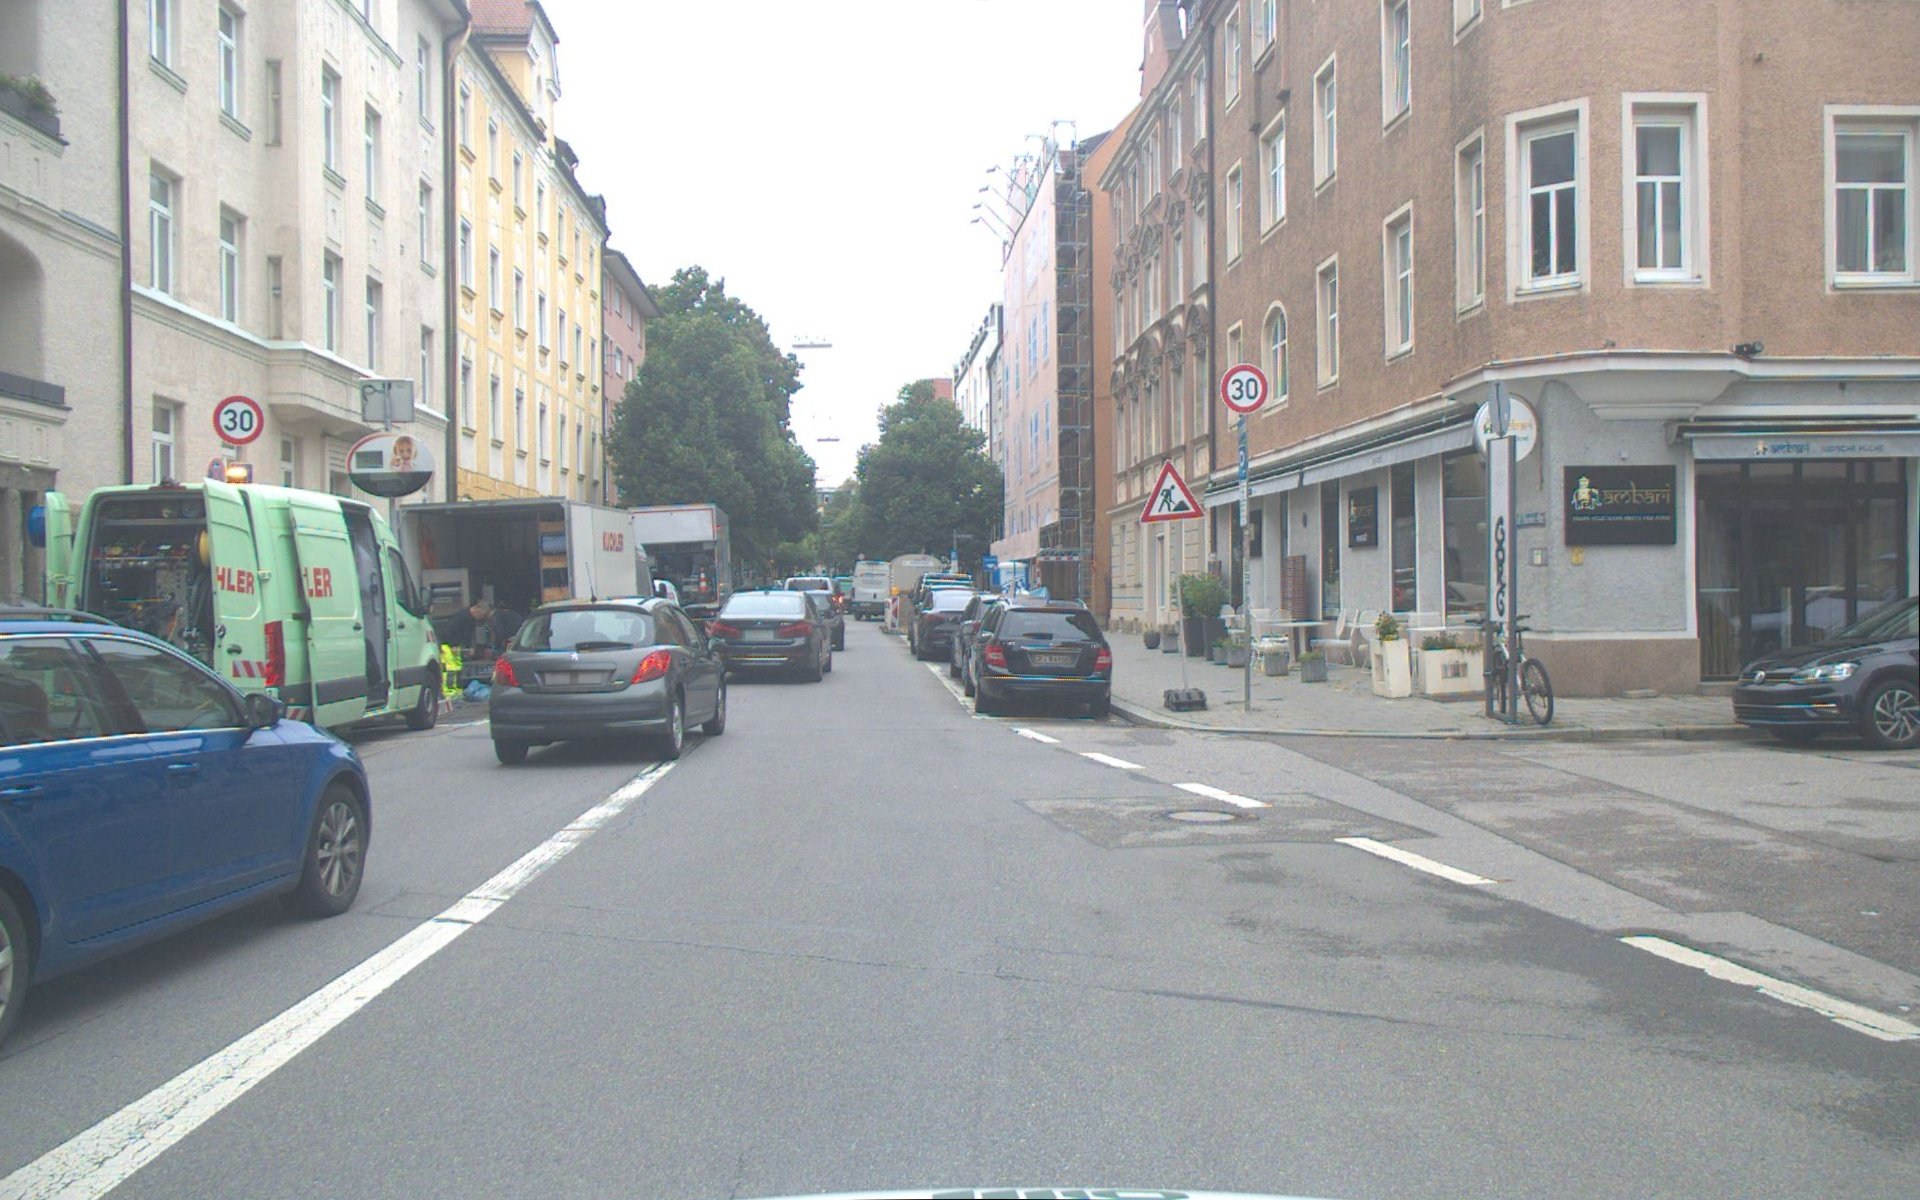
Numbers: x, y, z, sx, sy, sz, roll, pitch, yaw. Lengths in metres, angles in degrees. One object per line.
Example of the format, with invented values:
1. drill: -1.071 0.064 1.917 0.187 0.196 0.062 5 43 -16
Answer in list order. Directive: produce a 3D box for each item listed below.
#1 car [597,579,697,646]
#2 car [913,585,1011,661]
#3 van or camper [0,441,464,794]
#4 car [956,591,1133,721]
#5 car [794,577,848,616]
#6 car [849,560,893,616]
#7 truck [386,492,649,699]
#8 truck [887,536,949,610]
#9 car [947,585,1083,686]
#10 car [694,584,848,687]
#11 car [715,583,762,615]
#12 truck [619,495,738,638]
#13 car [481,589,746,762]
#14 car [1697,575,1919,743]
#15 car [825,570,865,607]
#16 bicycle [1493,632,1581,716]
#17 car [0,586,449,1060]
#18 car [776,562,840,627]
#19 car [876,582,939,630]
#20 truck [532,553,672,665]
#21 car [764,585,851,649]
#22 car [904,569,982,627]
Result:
1. car: -8.025 0.293 42.726 1.950 1.639 4.138 0 0 -3
2. car: -0.020 0.468 36.489 1.808 1.454 4.303 2 1 -4
3. van or camper: -7.121 0.076 16.729 2.548 2.889 6.183 -1 1 -3
4. car: 1.031 0.668 22.204 1.808 1.454 4.180 2 1 -4
5. car: -5.468 -0.157 65.595 1.950 1.454 4.139 -1 1 -3
6. car: -4.131 -0.570 77.328 1.900 2.523 4.781 0 0 -2
7. truck: -6.972 -0.145 27.160 2.718 2.923 7.198 -1 1 -3
8. truck: -1.823 -1.111 70.440 2.442 3.025 5.324 0 0 -4
9. car: 0.845 0.538 27.857 1.808 1.454 4.137 2 1 -4
10. car: -3.068 0.517 27.817 1.949 1.454 4.906 2 1 0
11. car: -10.333 -0.053 77.365 1.901 1.473 3.863 0 0 -4
12. truck: -8.424 -0.966 50.256 2.953 4.021 6.989 0 0 -5
13. car: -3.288 0.649 16.477 1.722 1.486 4.074 -1 0 1
14. car: 9.411 0.523 15.562 4.086 1.454 1.924 -1 -2 -3
15. car: -6.275 -0.623 90.371 1.953 1.937 3.999 0 0 -1
16. bicycle: 6.080 0.769 17.478 0.447 0.819 1.326 0 0 -1
17. car: -3.878 0.719 6.462 1.945 1.479 4.737 -1 0 5
18. car: -5.186 -0.228 56.794 1.950 2.111 4.139 -1 1 -3
19. car: -1.738 0.157 54.038 1.950 1.454 4.139 -1 1 -3
20. truck: -7.533 0.165 35.287 2.241 2.209 4.803 0 0 -4
21. car: -3.772 0.391 41.515 1.950 1.454 4.139 -1 1 -3
22. car: -0.500 -0.081 44.481 1.950 1.454 4.139 -1 1 -3
